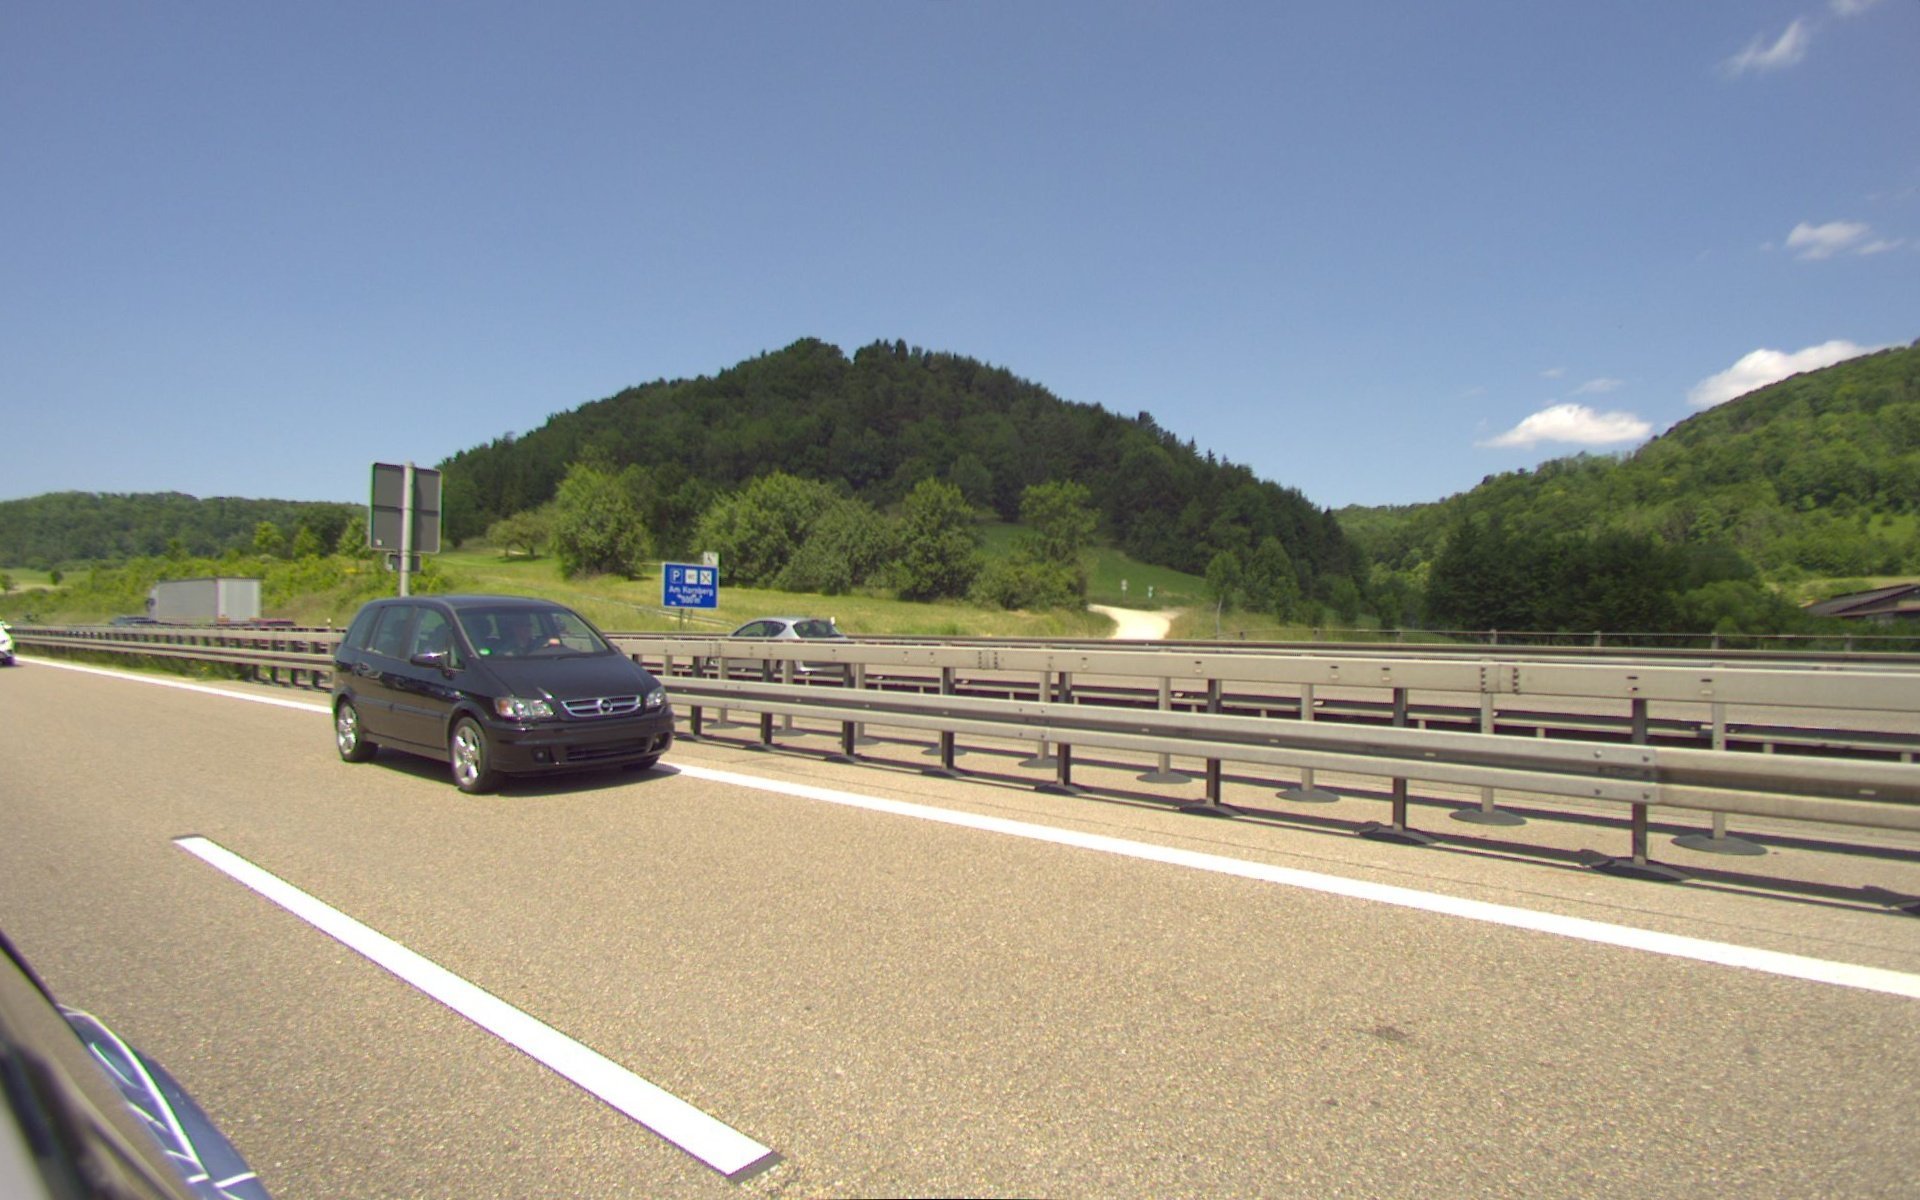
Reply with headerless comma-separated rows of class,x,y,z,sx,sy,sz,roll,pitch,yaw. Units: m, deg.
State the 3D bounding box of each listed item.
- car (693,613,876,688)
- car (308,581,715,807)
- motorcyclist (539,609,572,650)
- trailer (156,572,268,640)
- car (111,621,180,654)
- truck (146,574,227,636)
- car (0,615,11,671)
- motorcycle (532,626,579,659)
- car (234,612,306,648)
car,-3.988,1.060,22.745,3.998,1.508,1.973,-1,0,41
car,-4.376,0.722,9.531,4.443,1.647,1.782,-1,-1,41
motorcyclist,-15.034,1.088,37.598,0.838,1.512,0.835,-1,-1,40
trailer,-50.715,0.366,68.383,12.990,4.236,3.214,0,0,40
car,-39.023,1.771,48.438,4.624,1.479,1.732,-1,-1,40
truck,-55.193,0.355,72.171,6.951,4.179,3.244,0,0,41
car,-29.688,1.265,29.959,3.998,1.634,1.972,-1,-1,42
motorcycle,-15.030,1.572,37.593,2.128,1.158,0.710,-1,-1,40
car,-33.401,1.432,48.932,4.353,1.630,1.850,-1,-1,41
